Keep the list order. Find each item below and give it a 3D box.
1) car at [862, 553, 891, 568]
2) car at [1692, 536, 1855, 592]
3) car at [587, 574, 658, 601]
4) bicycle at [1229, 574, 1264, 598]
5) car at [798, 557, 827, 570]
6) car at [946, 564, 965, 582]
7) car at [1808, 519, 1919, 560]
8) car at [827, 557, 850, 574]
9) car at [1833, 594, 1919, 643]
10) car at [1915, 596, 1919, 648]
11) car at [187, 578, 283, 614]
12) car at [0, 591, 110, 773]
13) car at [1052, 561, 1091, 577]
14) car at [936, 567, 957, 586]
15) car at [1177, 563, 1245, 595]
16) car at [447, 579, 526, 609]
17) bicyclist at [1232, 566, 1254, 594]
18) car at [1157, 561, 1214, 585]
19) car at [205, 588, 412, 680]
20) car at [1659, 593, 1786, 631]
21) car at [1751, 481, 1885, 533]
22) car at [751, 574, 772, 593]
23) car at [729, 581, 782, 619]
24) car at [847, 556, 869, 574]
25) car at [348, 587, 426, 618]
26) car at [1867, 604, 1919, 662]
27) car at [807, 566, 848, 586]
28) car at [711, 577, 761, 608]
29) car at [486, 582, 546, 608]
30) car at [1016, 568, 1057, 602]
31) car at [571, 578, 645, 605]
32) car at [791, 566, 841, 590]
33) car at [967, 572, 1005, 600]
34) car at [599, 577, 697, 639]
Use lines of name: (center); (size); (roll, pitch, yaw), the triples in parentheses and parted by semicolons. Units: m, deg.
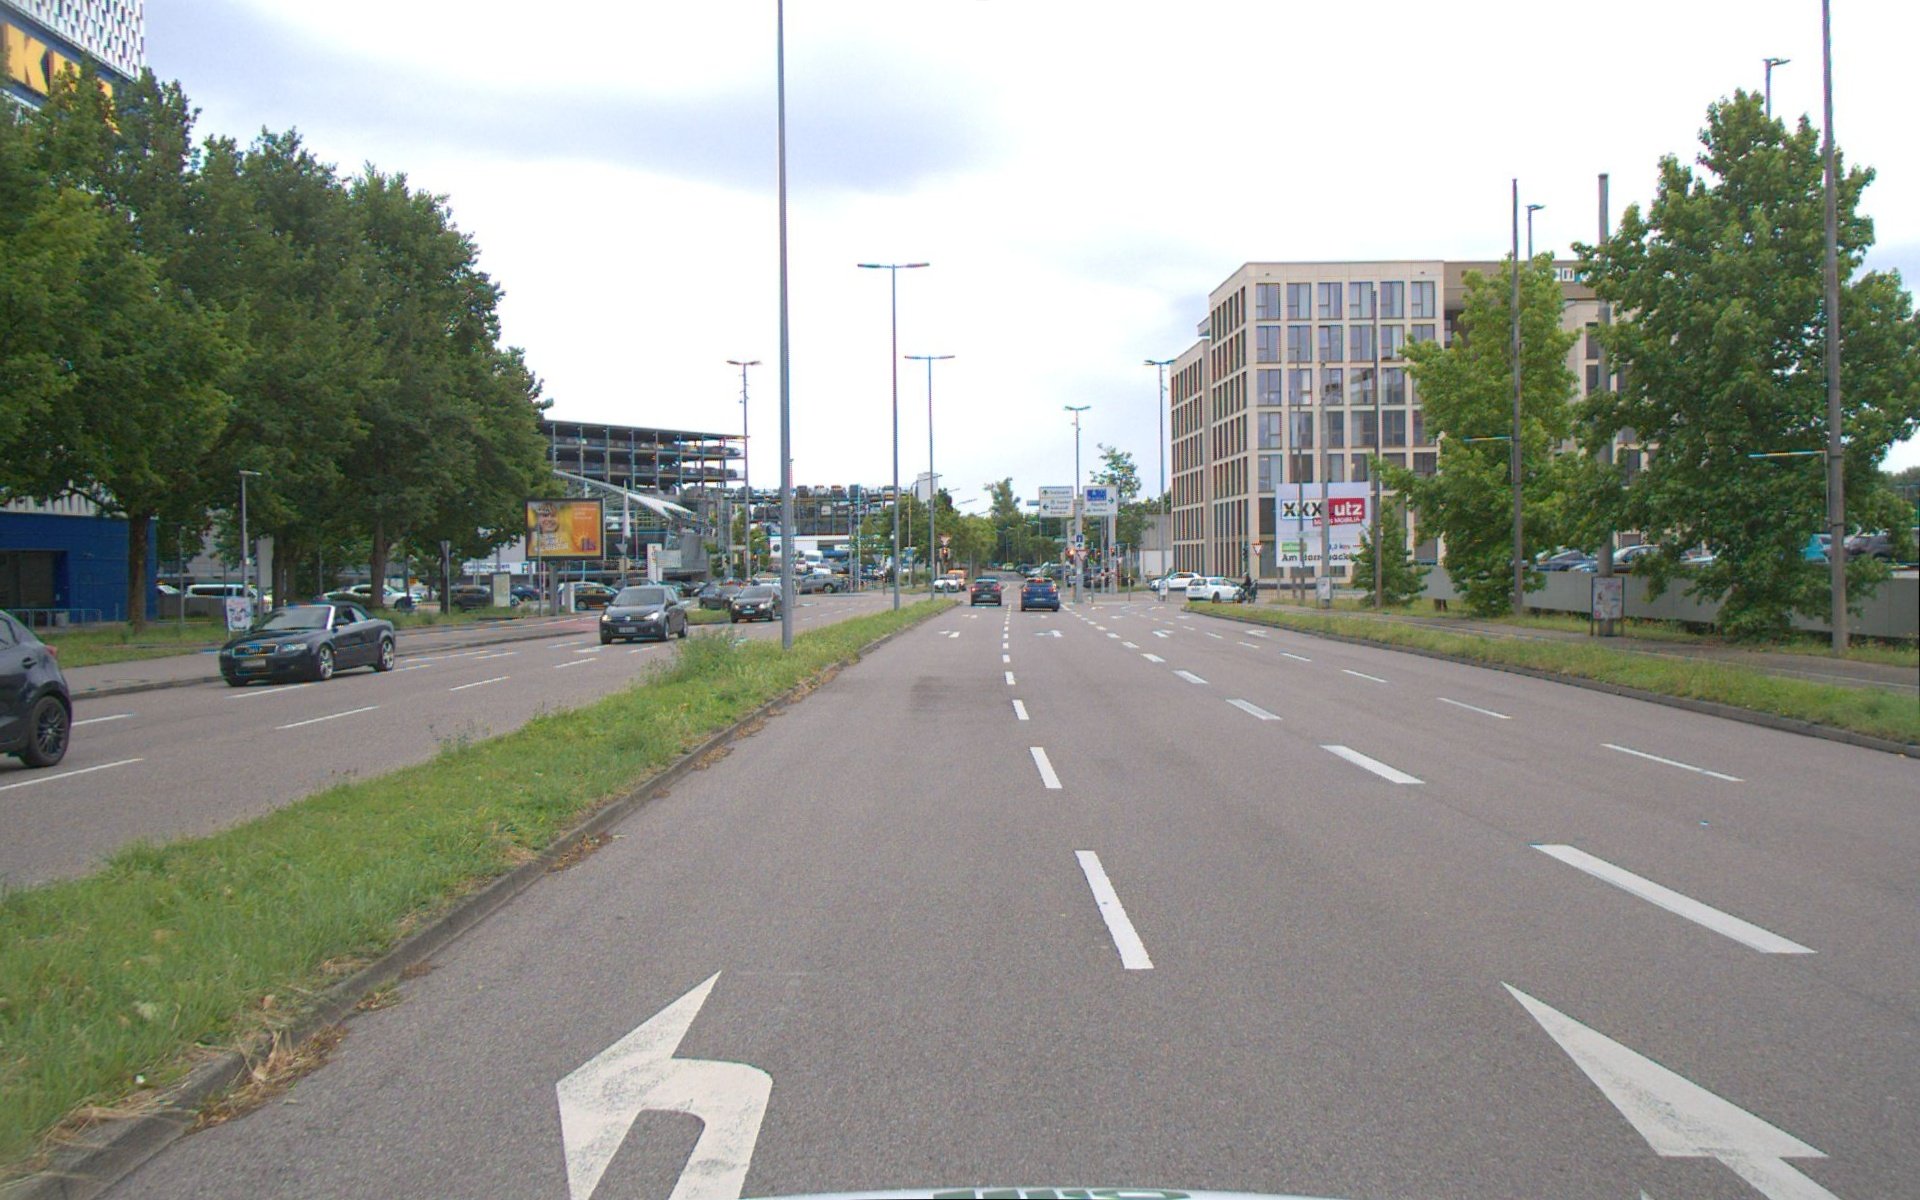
car: (-9.466, -4.524, 188.543); (3.229, 1.669, 1.479); (-1, 3, -2)
car: (24.128, -1.082, 49.159); (3.987, 1.551, 1.811); (-1, 2, -4)
car: (-22.552, -0.852, 110.666); (4.312, 1.672, 2.001); (-1, 3, 0)
bicycle: (15.863, -0.772, 91.664); (0.694, 1.318, 1.986); (-1, 2, -35)
car: (-18.765, -4.700, 210.663); (3.592, 1.555, 1.613); (-1, 3, -6)
car: (-0.373, -2.410, 146.661); (1.567, 1.478, 3.326); (-1, 3, 1)
car: (36.283, -2.444, 66.243); (3.762, 1.534, 1.785); (-1, 2, 4)
car: (-13.135, -3.756, 178.839); (1.738, 1.735, 3.920); (0, 3, 6)
car: (23.519, 0.436, 40.572); (3.441, 1.151, 1.516); (0, 1, 0)
car: (22.997, 0.492, 36.123); (3.441, 1.151, 1.455); (0, 1, 0)
car: (-45.110, -0.254, 102.933); (5.029, 1.997, 1.880); (-1, 4, -3)
car: (-8.788, 0.726, 13.292); (1.721, 1.478, 4.001); (-2, 1, 1)
car: (11.197, -3.112, 165.405); (3.529, 1.504, 1.760); (0, 3, 21)
car: (-1.116, -1.976, 138.533); (1.567, 1.478, 3.326); (-1, 3, 1)
car: (14.574, -1.220, 95.936); (1.965, 1.782, 4.155); (0, 1, 42)
car: (-29.649, -0.401, 103.667); (4.455, 1.688, 1.998); (-2, 1, -6)
bicyclist: (15.725, -1.138, 91.835); (0.694, 1.530, 0.988); (-1, 2, -35)
car: (16.875, -2.031, 123.868); (3.873, 1.595, 1.755); (-1, 3, -12)
car: (-11.827, 0.565, 30.367); (1.735, 1.477, 4.407); (-3, 0, 4)
car: (28.527, 0.444, 61.932); (3.971, 1.374, 1.764); (0, 1, 0)
car: (38.553, -4.180, 74.444); (4.906, 2.249, 2.167); (-1, 3, 4)
car: (-15.626, -1.341, 129.956); (1.347, 1.349, 3.025); (-1, 3, -13)
car: (-8.403, -0.037, 68.115); (1.893, 1.481, 4.179); (-1, 1, -4)
car: (-10.990, -3.786, 178.846); (1.738, 1.735, 3.920); (0, 3, 6)
car: (-36.949, 0.139, 106.697); (4.346, 1.740, 1.999); (-1, 5, -5)
car: (33.102, 1.085, 55.480); (4.276, 1.864, 2.001); (0, 1, 2)
car: (-11.681, -2.136, 145.550); (3.534, 1.696, 1.548); (-1, 3, -4)
car: (-11.768, -0.420, 87.167); (1.754, 1.505, 4.534); (-2, 1, 3)
car: (-31.344, -0.378, 116.759); (3.781, 1.663, 1.724); (-1, 3, -5)
car: (3.592, -0.703, 78.038); (1.797, 1.541, 4.001); (-1, 1, 1)
car: (-22.176, -0.542, 104.314); (4.331, 1.689, 1.998); (-1, 1, -6)
car: (-11.726, -1.805, 134.860); (3.908, 1.821, 1.846); (-1, 3, -4)
car: (1.390, -0.732, 90.481); (1.947, 1.453, 4.240); (-1, 0, -1)
car: (-8.252, 0.172, 44.090); (1.743, 1.481, 4.182); (-3, 1, 0)
